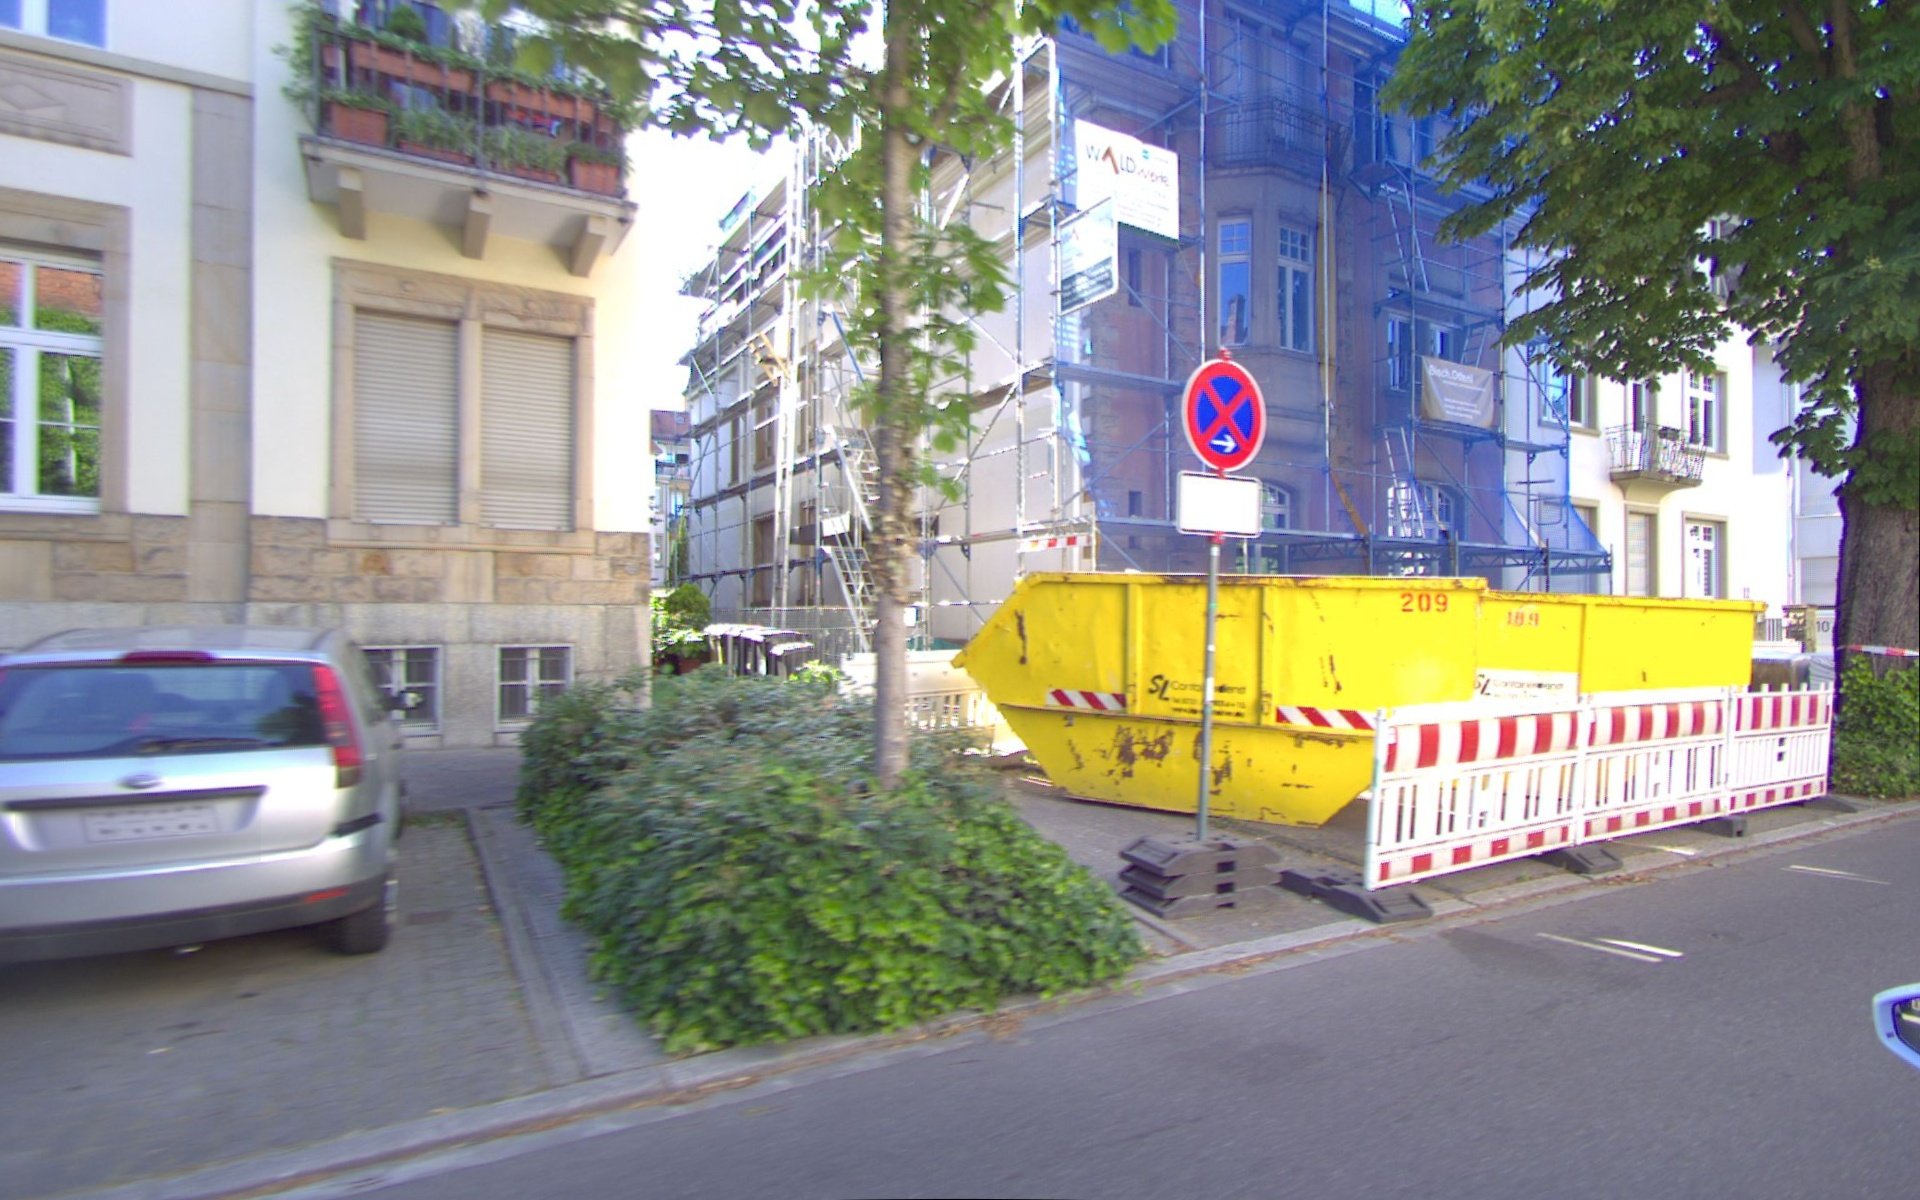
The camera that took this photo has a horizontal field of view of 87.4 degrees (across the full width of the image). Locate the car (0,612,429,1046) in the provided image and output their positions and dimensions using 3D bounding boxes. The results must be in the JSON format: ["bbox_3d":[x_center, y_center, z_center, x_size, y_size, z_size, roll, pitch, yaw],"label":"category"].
[{"bbox_3d":[-3.783,0.827,5.287,1.675,1.467,3.534,1,0,-29],"label":"car"}]
